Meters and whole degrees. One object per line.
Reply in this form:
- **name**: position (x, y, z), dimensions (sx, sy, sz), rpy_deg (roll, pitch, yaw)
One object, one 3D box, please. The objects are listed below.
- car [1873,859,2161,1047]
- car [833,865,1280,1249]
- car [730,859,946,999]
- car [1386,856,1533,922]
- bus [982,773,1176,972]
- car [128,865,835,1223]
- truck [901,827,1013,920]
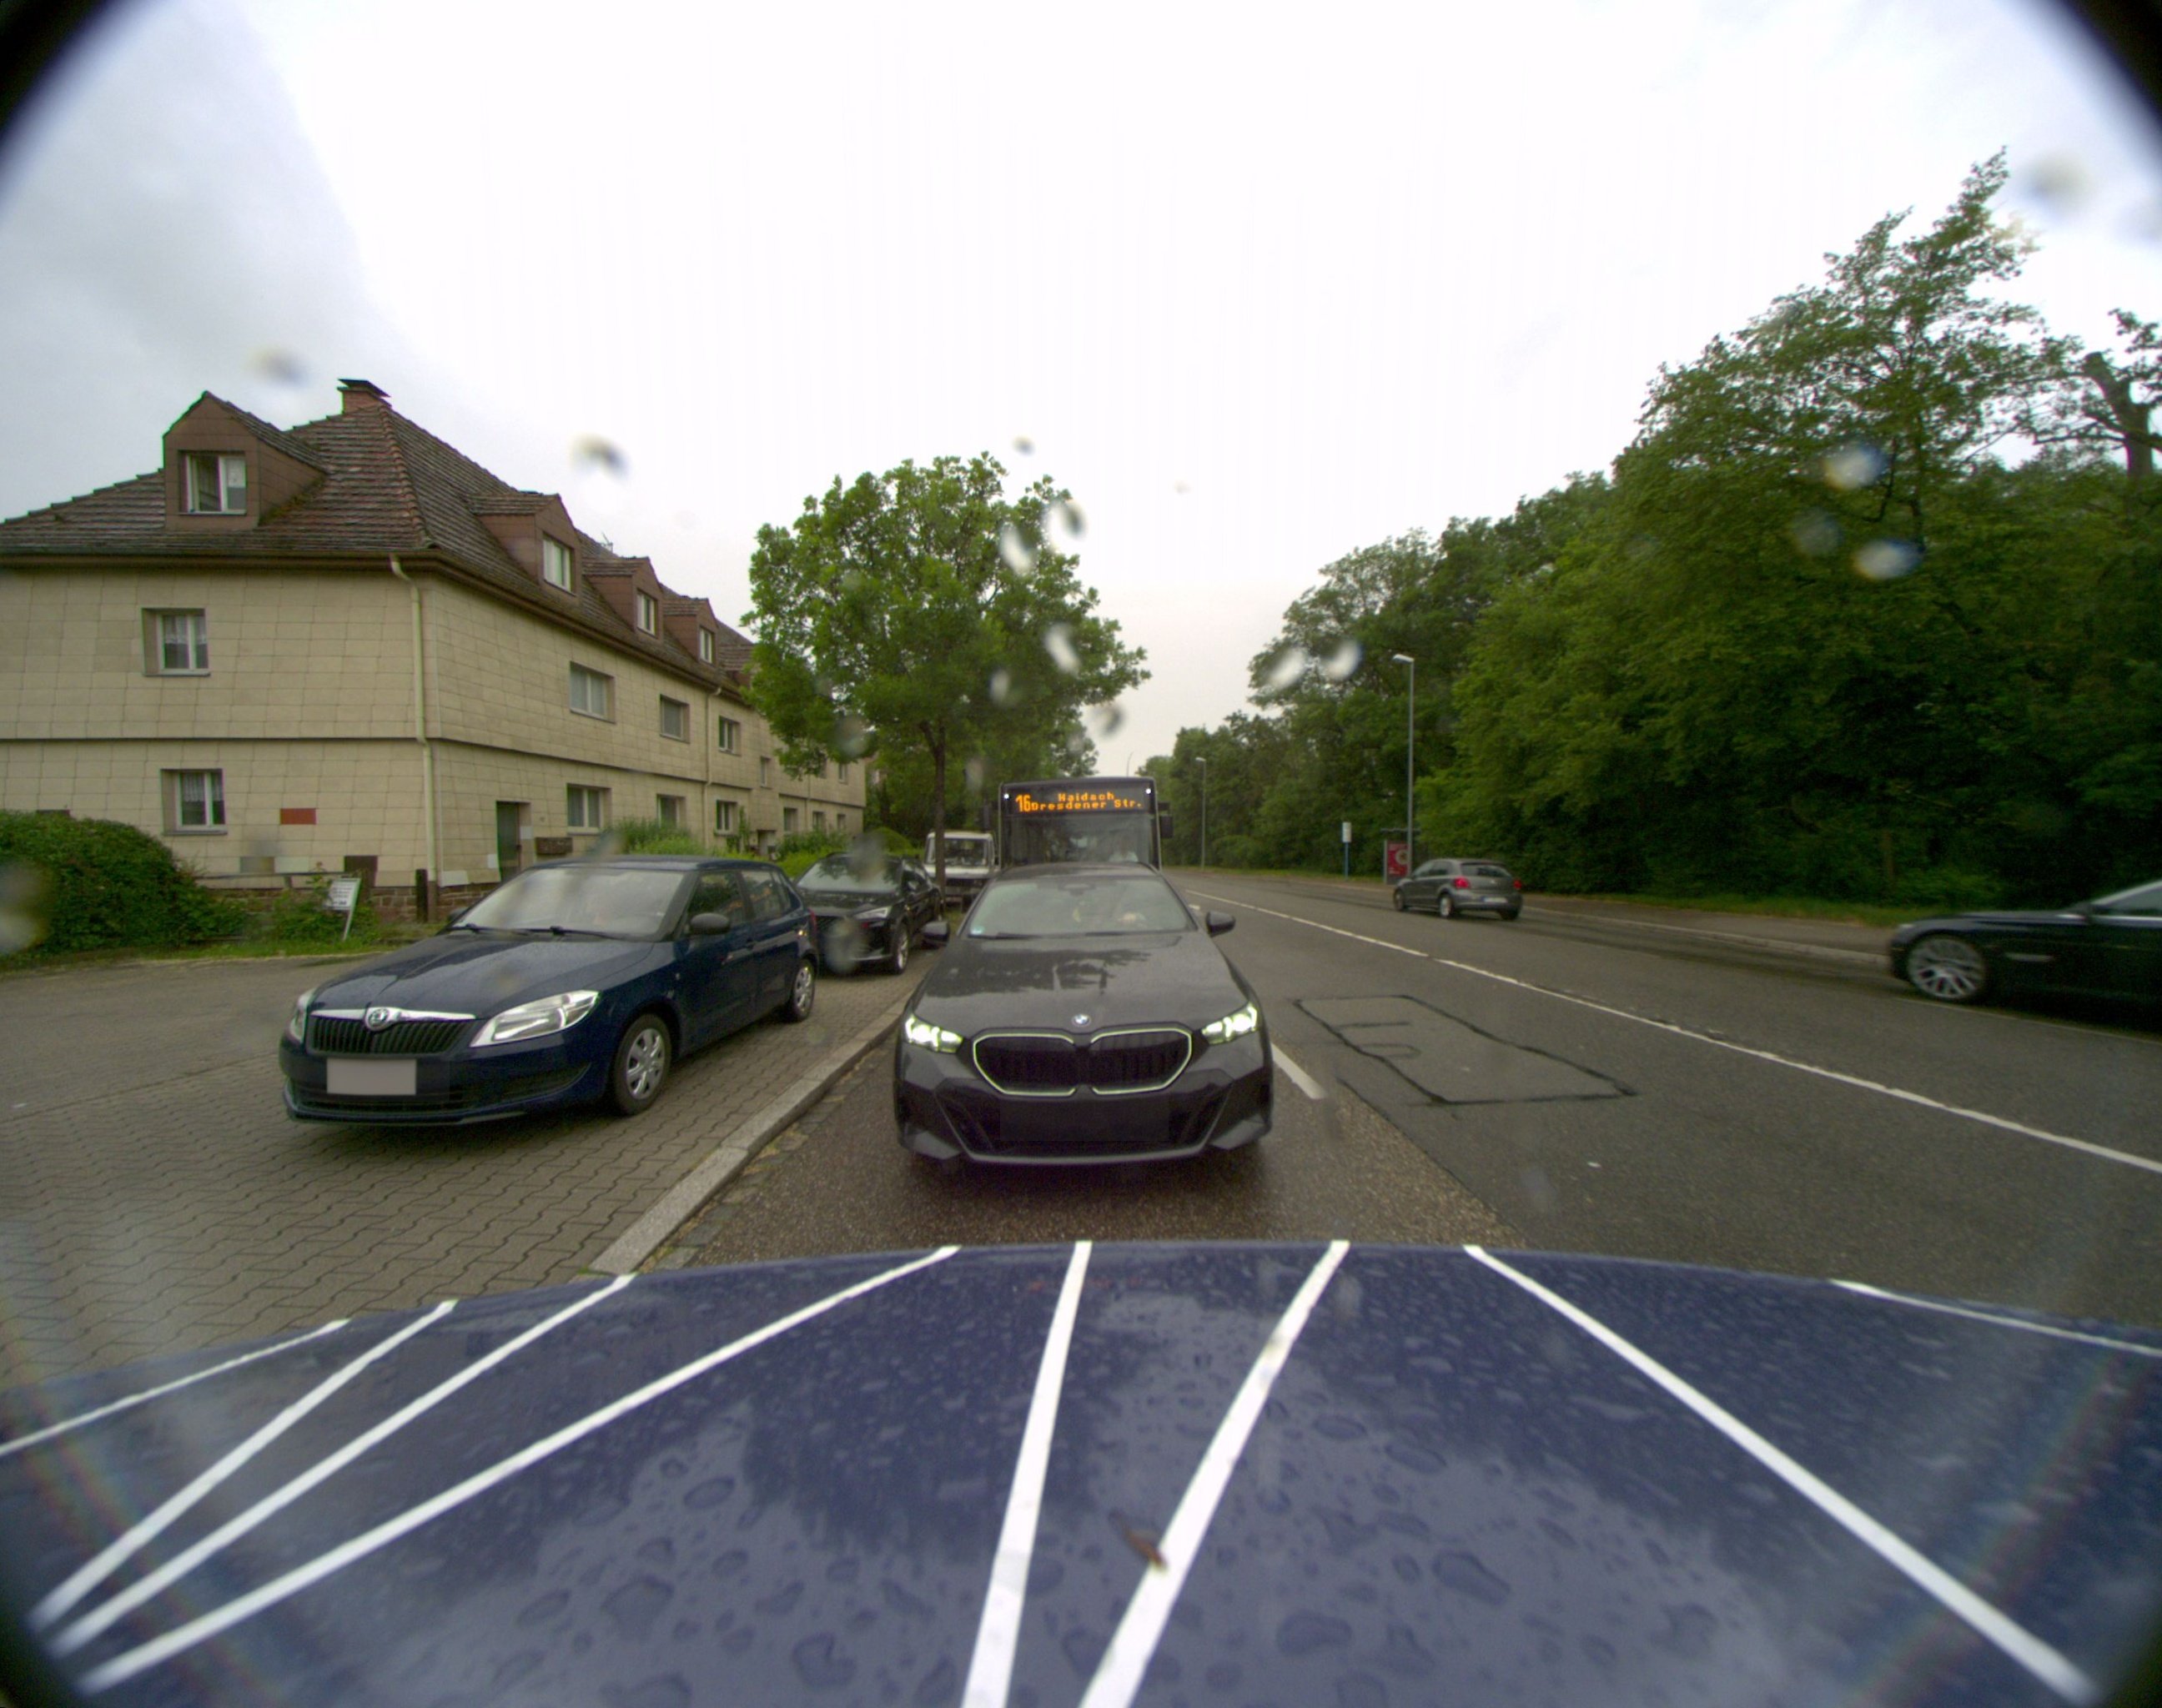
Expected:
- **car**: position (9.510, 0.850, 5.664), dimensions (1.915, 1.445, 4.947), rpy_deg (3, 1, -1)
- **car**: position (-0.079, 0.926, 5.485), dimensions (1.882, 1.520, 4.316), rpy_deg (-3, 0, 1)
- **car**: position (-3.072, 0.850, 10.487), dimensions (1.720, 1.455, 3.999), rpy_deg (1, 1, -1)
- **car**: position (9.198, 0.783, 18.850), dimensions (1.598, 1.420, 3.905), rpy_deg (1, 0, -1)
- **bus**: position (0.100, 0.224, 15.951), dimensions (2.767, 2.858, 9.403), rpy_deg (-2, 1, 2)
- **car**: position (-3.261, 0.856, 5.300), dimensions (1.720, 1.416, 3.999), rpy_deg (1, 1, 1)
- **truck**: position (-3.198, 0.465, 20.893), dimensions (1.998, 2.184, 5.756), rpy_deg (0, 0, 2)
